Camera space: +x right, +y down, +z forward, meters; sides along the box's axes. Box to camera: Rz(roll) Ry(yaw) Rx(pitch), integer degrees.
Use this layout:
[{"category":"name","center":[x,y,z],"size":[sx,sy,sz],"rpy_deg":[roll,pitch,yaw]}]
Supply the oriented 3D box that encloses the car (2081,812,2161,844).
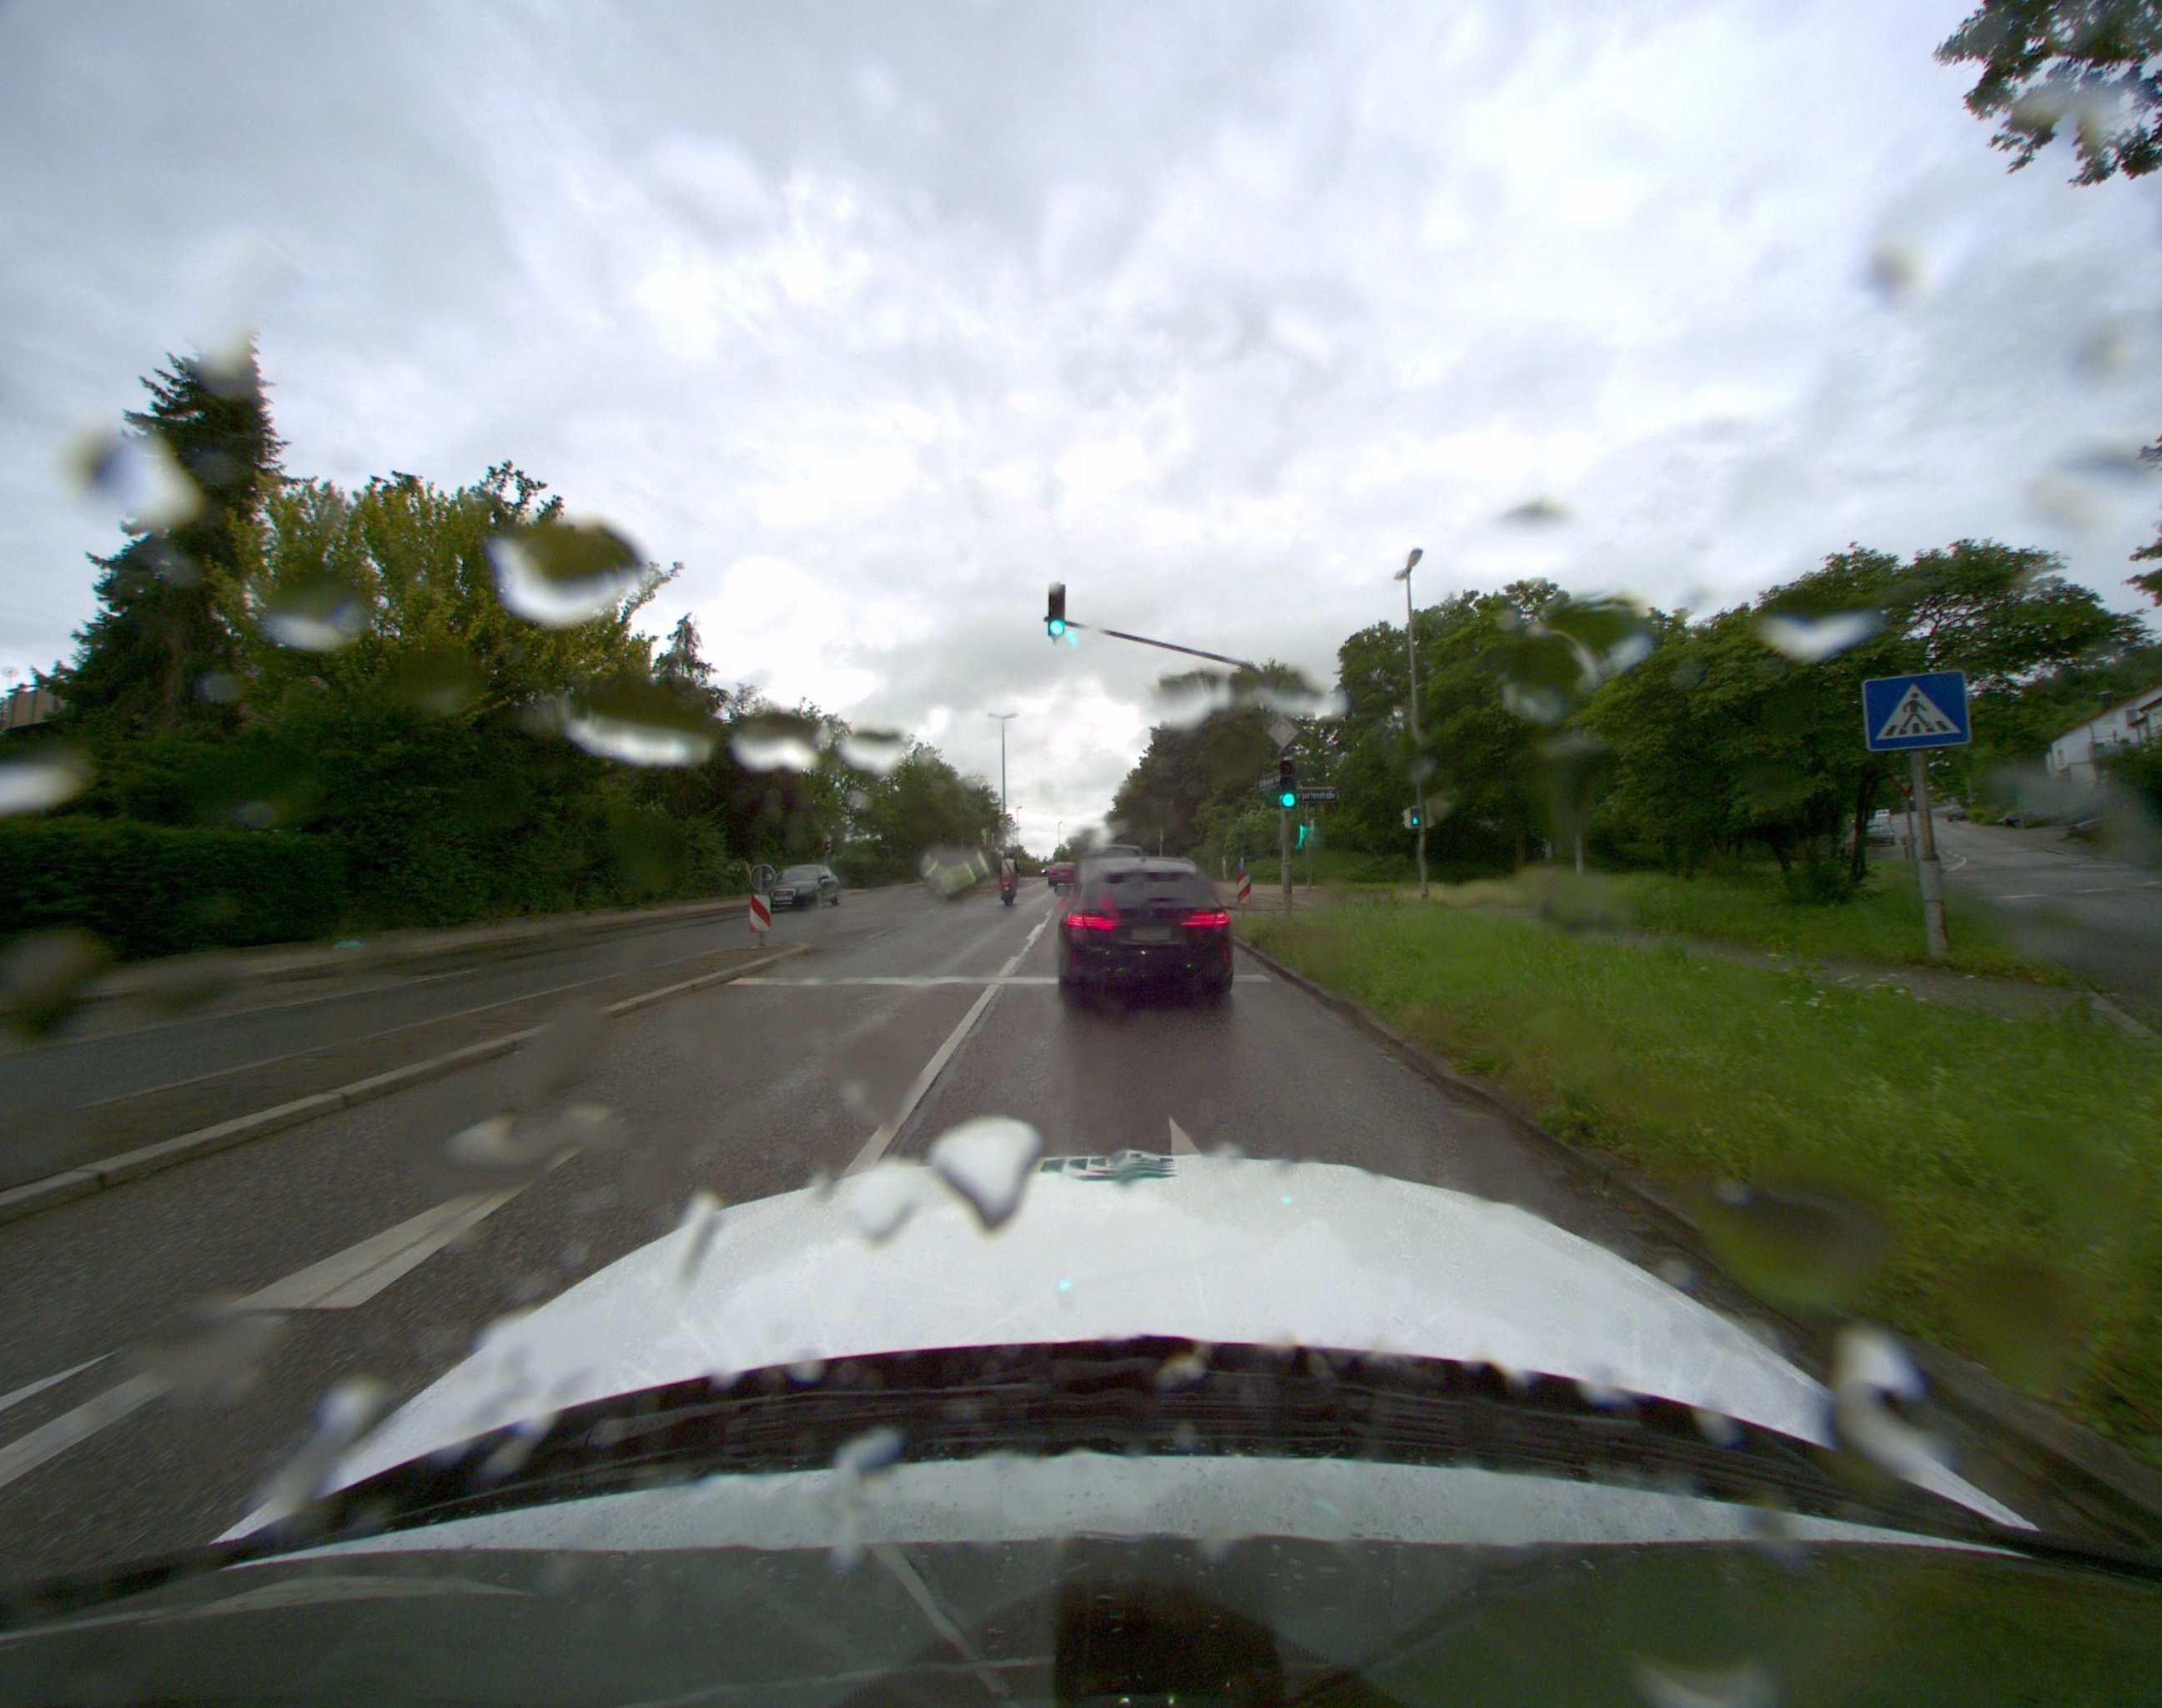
[{"category":"car","center":[60.098,-1.493,46.243],"size":[1.969,1.648,3.950],"rpy_deg":[-1,-1,-45]}]

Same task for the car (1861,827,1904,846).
[{"category":"car","center":[66.026,-1.410,67.074],"size":[4.014,1.446,1.686],"rpy_deg":[1,-1,-32]}]

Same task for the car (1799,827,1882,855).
[{"category":"car","center":[46.154,-0.778,49.522],"size":[3.994,1.571,1.819],"rpy_deg":[-2,-1,-15]}]

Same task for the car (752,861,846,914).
[{"category":"car","center":[-8.901,1.002,26.071],"size":[1.859,1.492,3.828],"rpy_deg":[-2,0,-4]}]

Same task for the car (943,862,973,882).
[{"category":"car","center":[-10.244,1.472,68.202],"size":[1.721,1.485,4.157],"rpy_deg":[-3,0,1]}]

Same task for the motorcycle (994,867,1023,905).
[{"category":"motorcycle","center":[-2.262,0.980,25.451],"size":[0.738,1.119,1.427],"rpy_deg":[0,0,2]}]

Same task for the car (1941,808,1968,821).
[{"category":"car","center":[113.269,-5.092,105.665],"size":[1.921,1.458,4.242],"rpy_deg":[0,-1,41]}]

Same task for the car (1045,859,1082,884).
[{"category":"car","center":[-1.015,1.007,49.324],"size":[2.007,1.415,4.488],"rpy_deg":[0,0,2]}]

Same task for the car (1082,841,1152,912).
[{"category":"car","center":[0.968,0.563,22.517],"size":[1.760,1.810,3.907],"rpy_deg":[0,0,2]}]

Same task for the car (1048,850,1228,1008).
[{"category":"car","center":[0.618,0.726,9.802],"size":[1.758,1.536,3.674],"rpy_deg":[0,0,2]}]

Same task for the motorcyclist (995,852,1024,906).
[{"category":"motorcyclist","center":[-2.242,0.772,25.519],"size":[0.842,1.647,0.468],"rpy_deg":[-1,0,1]}]

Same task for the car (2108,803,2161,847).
[{"category":"car","center":[49.135,-1.347,36.131],"size":[1.953,1.899,3.983],"rpy_deg":[-2,0,-12]}]

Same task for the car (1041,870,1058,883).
[{"category":"car","center":[-4.289,3.023,110.088],"size":[2.018,1.563,3.877],"rpy_deg":[-2,-1,1]}]
